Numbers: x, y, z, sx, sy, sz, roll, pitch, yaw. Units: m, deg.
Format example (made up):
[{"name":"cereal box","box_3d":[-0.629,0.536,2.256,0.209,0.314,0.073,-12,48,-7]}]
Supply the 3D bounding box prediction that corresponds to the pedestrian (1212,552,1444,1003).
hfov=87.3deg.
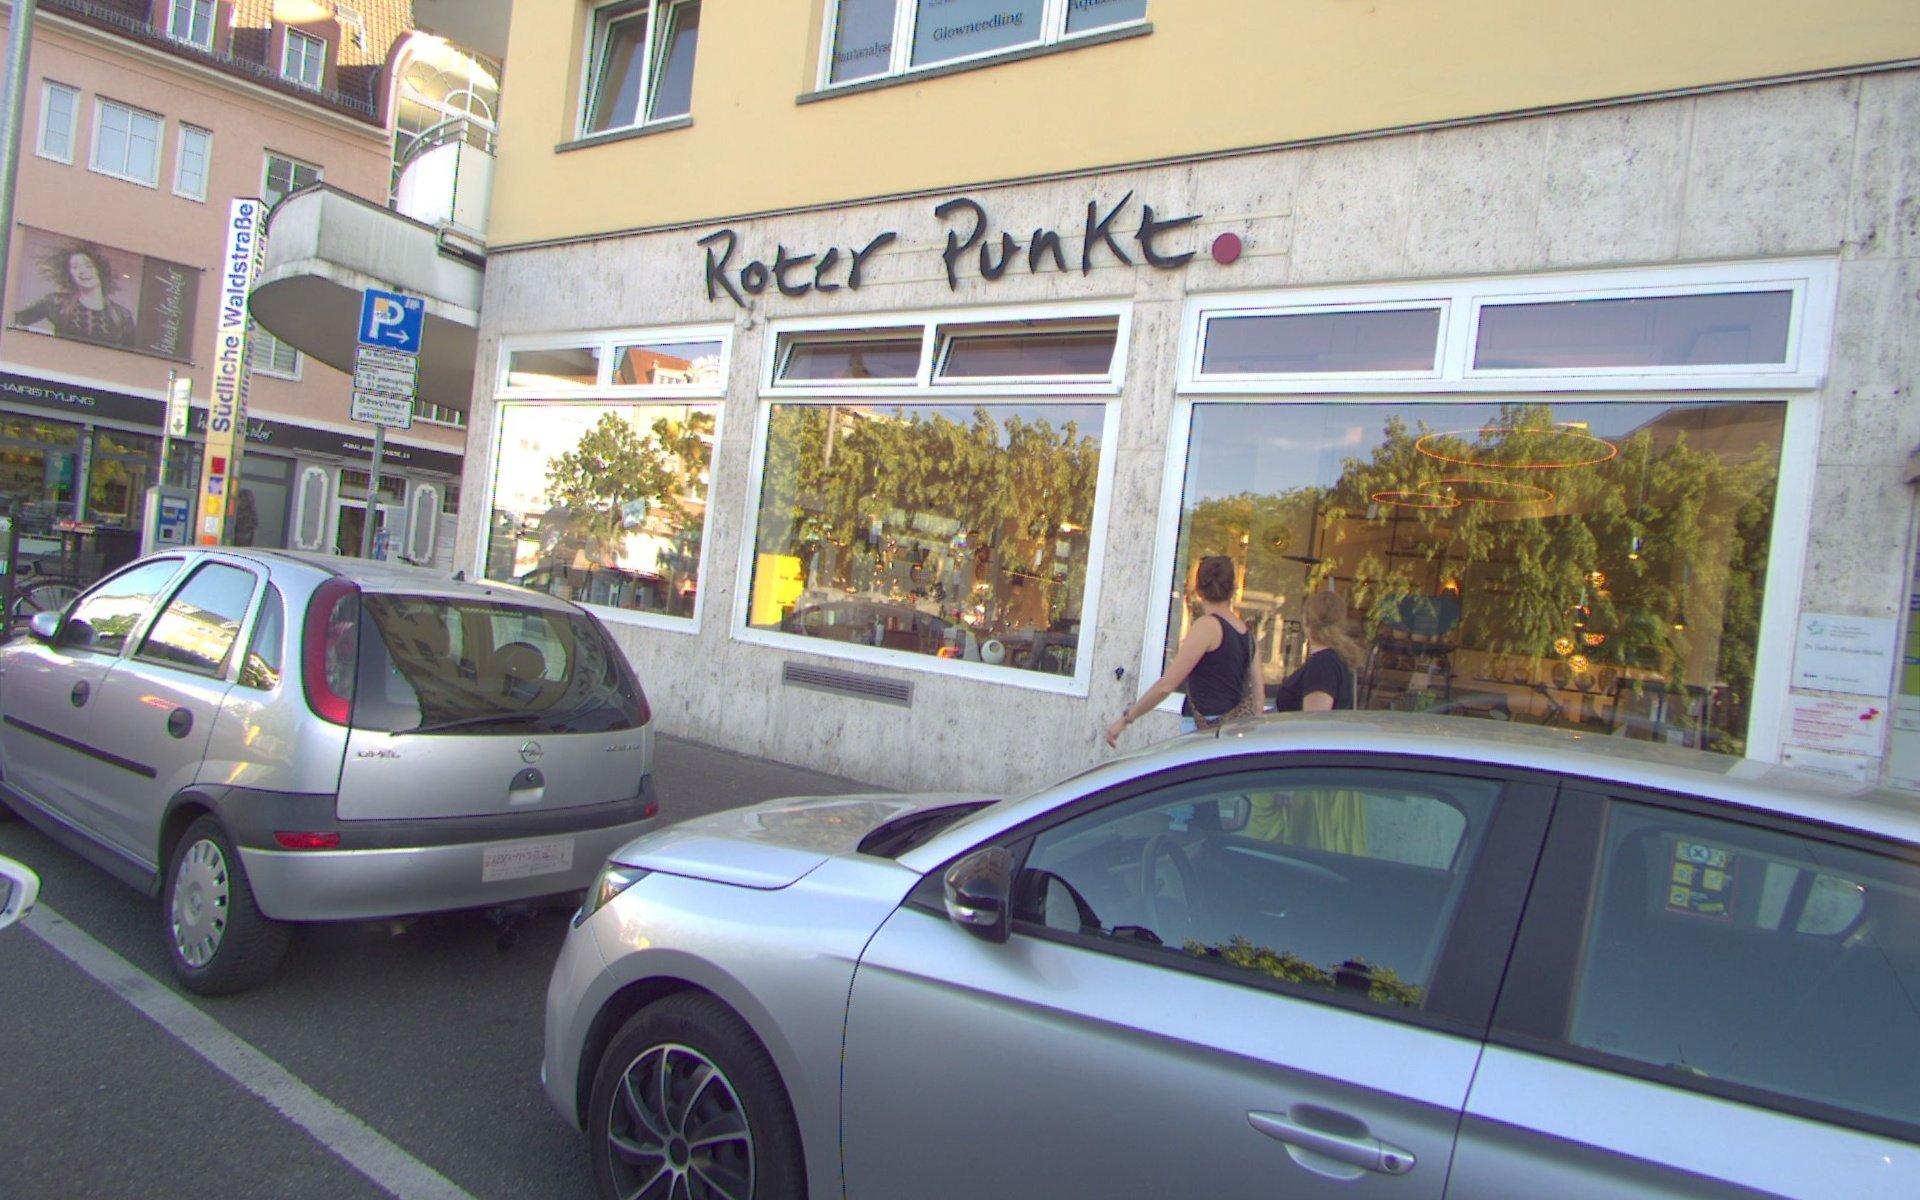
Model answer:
[{"name":"pedestrian","box_3d":[1.617,0.745,4.535,0.557,1.805,0.743,7,0,0]}]

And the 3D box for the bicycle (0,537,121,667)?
[{"name":"bicycle","box_3d":[-8.112,-0.002,8.204,0.348,1.051,1.871,6,1,38]}]

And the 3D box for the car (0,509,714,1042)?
[{"name":"car","box_3d":[-2.937,0.471,4.437,3.420,1.407,1.548,6,-1,33]}]

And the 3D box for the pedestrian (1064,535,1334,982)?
[{"name":"pedestrian","box_3d":[0.985,0.620,4.212,0.652,1.685,0.642,7,0,-31]}]

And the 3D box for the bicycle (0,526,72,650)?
[{"name":"bicycle","box_3d":[-9.088,-0.150,8.810,0.408,1.101,1.872,6,1,35]}]

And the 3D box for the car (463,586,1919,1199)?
[{"name":"car","box_3d":[0.763,0.921,2.275,3.598,1.444,1.550,6,-1,30]}]
